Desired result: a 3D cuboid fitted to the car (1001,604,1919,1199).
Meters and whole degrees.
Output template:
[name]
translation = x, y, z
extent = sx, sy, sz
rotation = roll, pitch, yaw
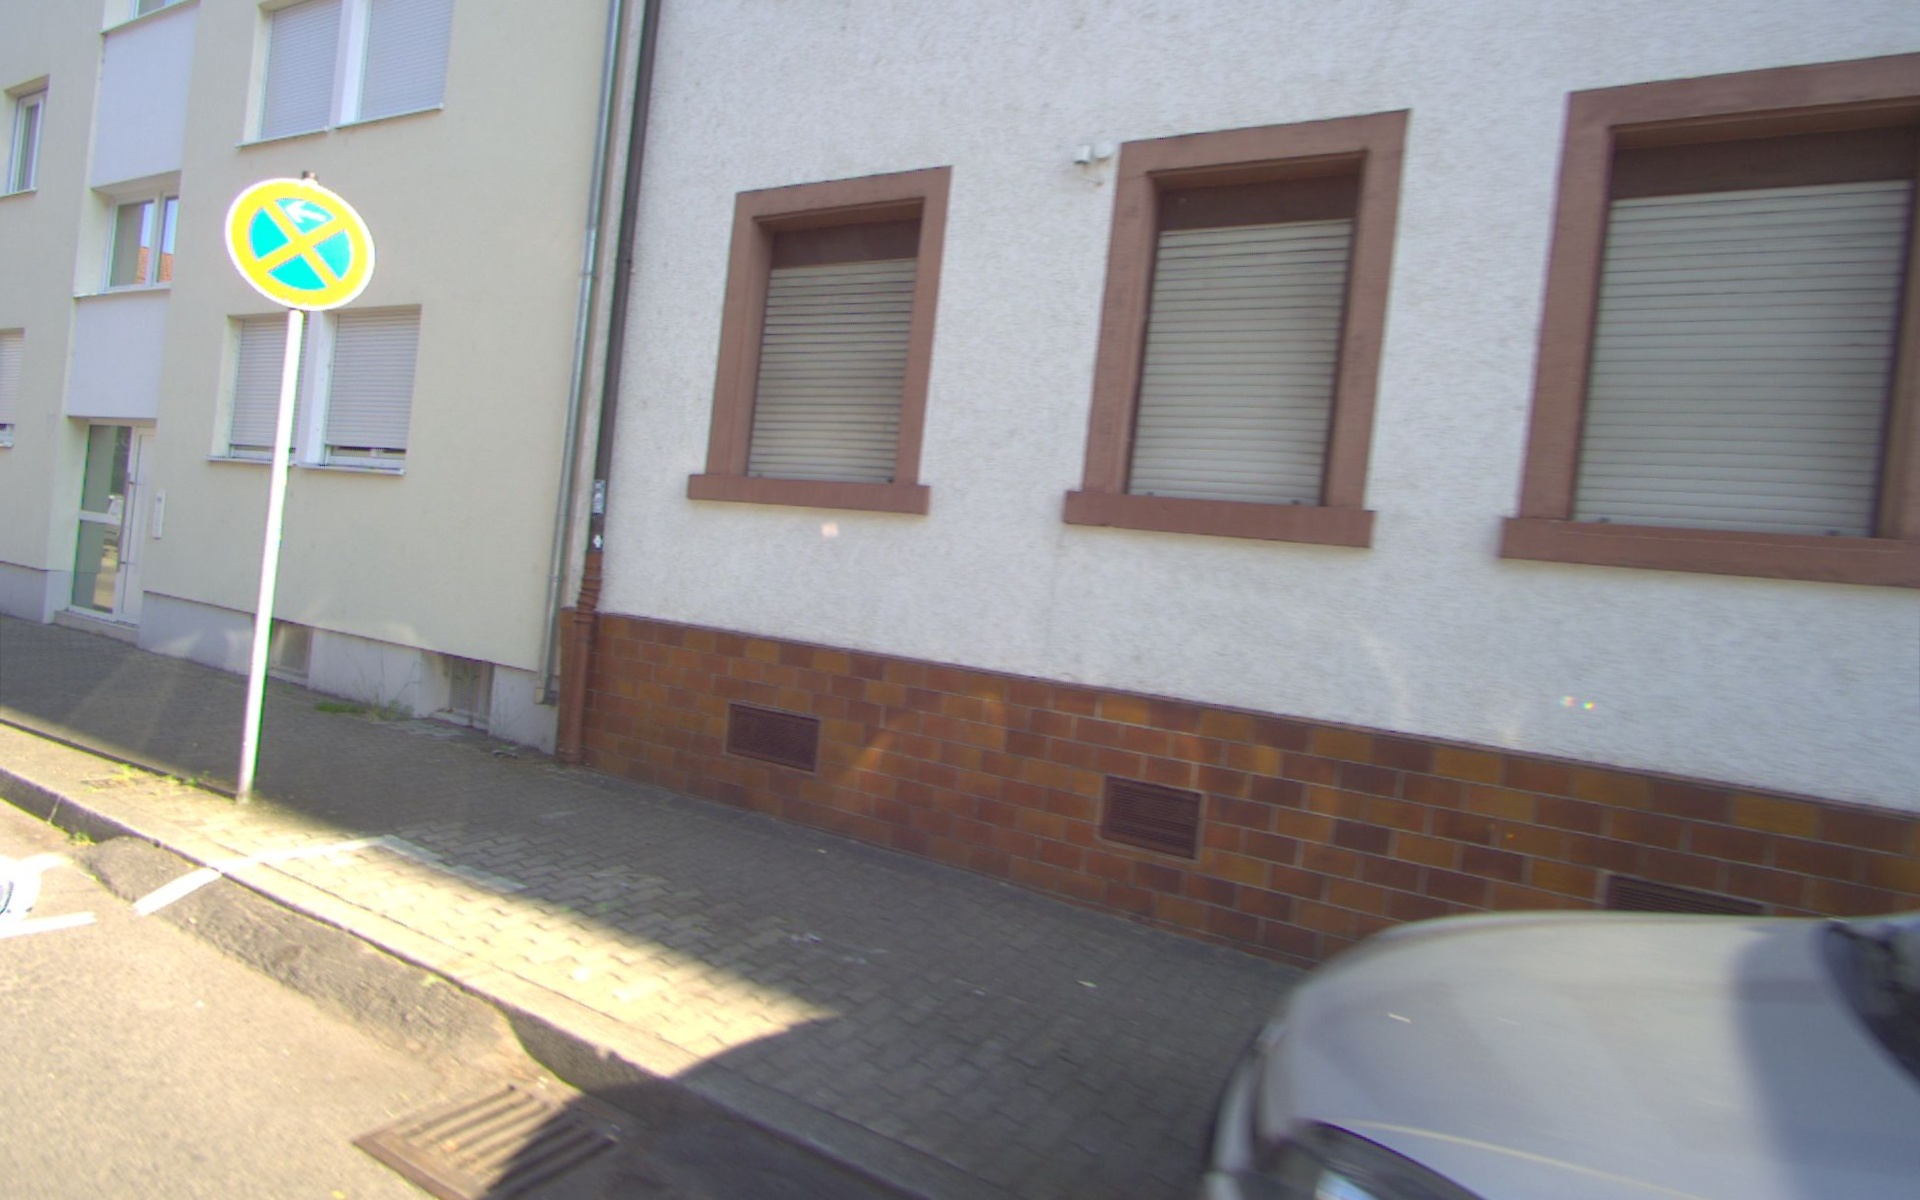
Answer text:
[car]
translation = 2.378, 1.012, 1.170
extent = 4.362, 1.511, 1.743
rotation = 7, 2, 29
